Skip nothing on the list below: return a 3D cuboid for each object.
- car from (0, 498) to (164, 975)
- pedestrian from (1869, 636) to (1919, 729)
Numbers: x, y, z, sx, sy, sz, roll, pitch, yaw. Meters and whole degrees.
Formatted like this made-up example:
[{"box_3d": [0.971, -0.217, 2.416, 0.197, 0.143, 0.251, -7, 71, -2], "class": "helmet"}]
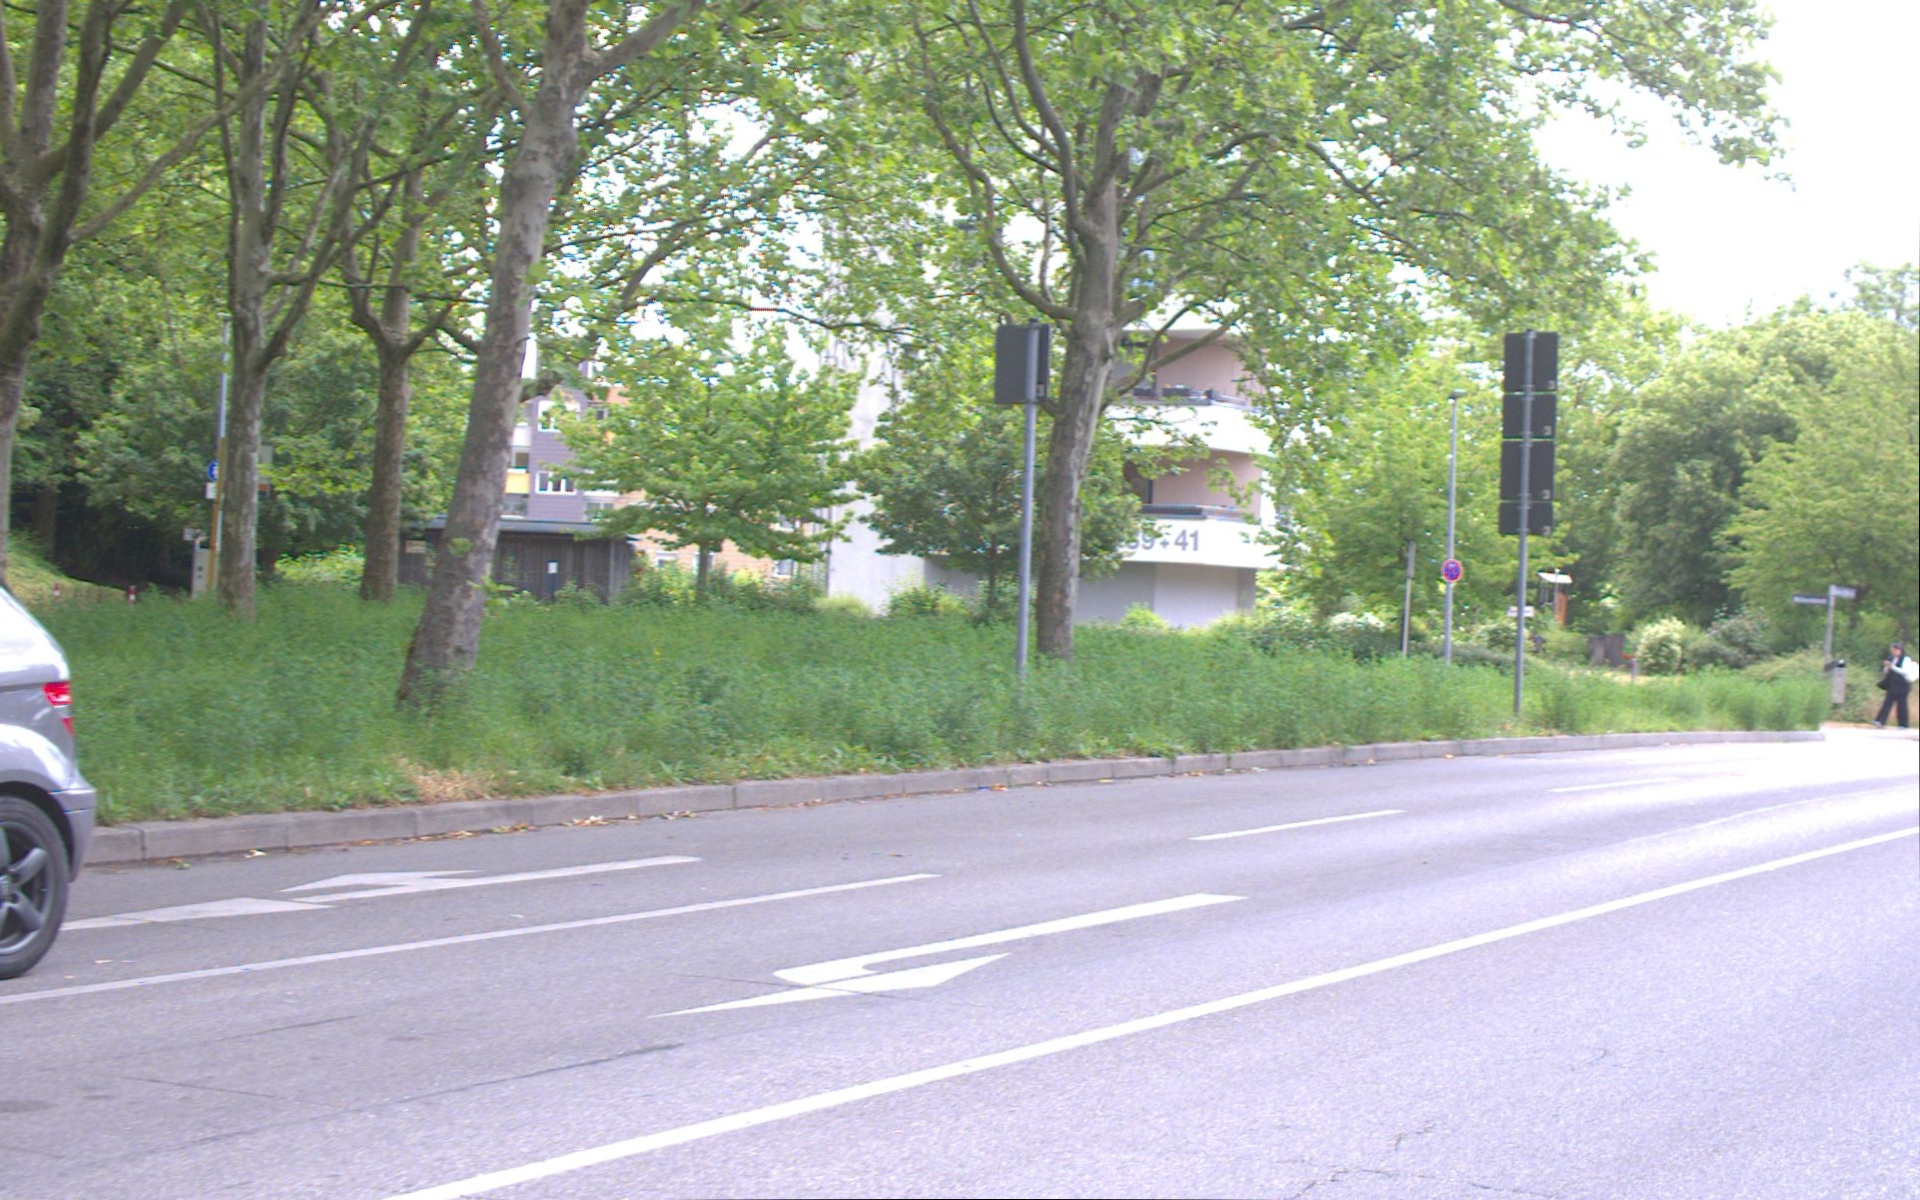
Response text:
[{"box_3d": [-4.651, 0.429, 10.553, 1.770, 1.581, 4.404, 1, 0, 29], "class": "car"}, {"box_3d": [17.832, 1.570, 65.332, 0.820, 1.717, 0.777, 2, 0, -4], "class": "pedestrian"}]
